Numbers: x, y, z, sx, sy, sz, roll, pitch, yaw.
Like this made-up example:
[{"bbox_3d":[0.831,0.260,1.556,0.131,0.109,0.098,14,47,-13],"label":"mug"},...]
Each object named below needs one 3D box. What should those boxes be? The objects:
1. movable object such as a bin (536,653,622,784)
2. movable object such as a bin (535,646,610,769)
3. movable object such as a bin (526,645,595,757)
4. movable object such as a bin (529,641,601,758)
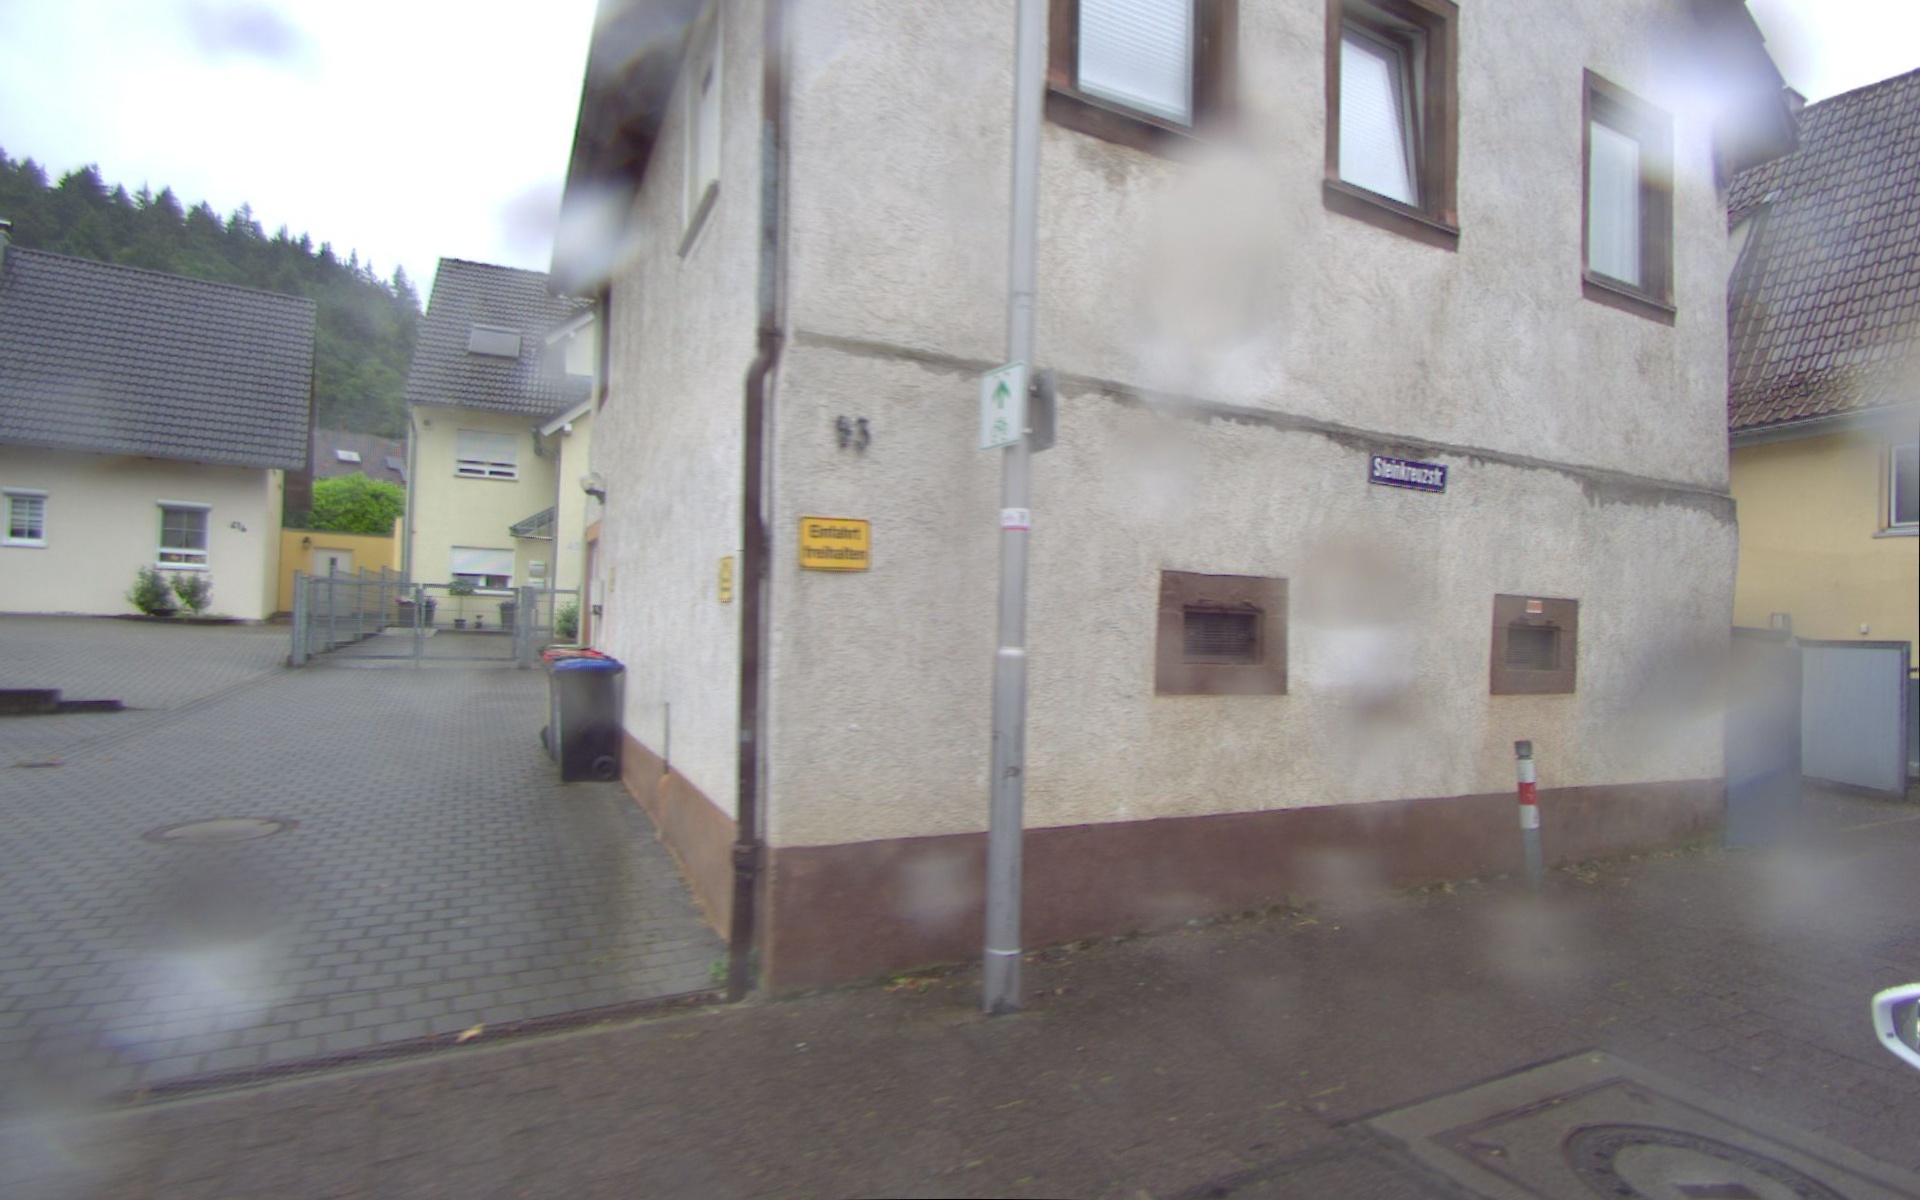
[{"bbox_3d":[-3.022,0.922,7.950,0.547,0.963,0.486,3,0,-28],"label":"movable object such as a bin"},{"bbox_3d":[-3.243,0.882,8.392,0.502,0.963,0.448,3,0,-28],"label":"movable object such as a bin"},{"bbox_3d":[-3.675,0.918,9.232,0.502,0.963,0.448,3,0,-28],"label":"movable object such as a bin"},{"bbox_3d":[-3.464,0.859,8.804,0.502,0.963,0.448,3,0,-28],"label":"movable object such as a bin"}]
